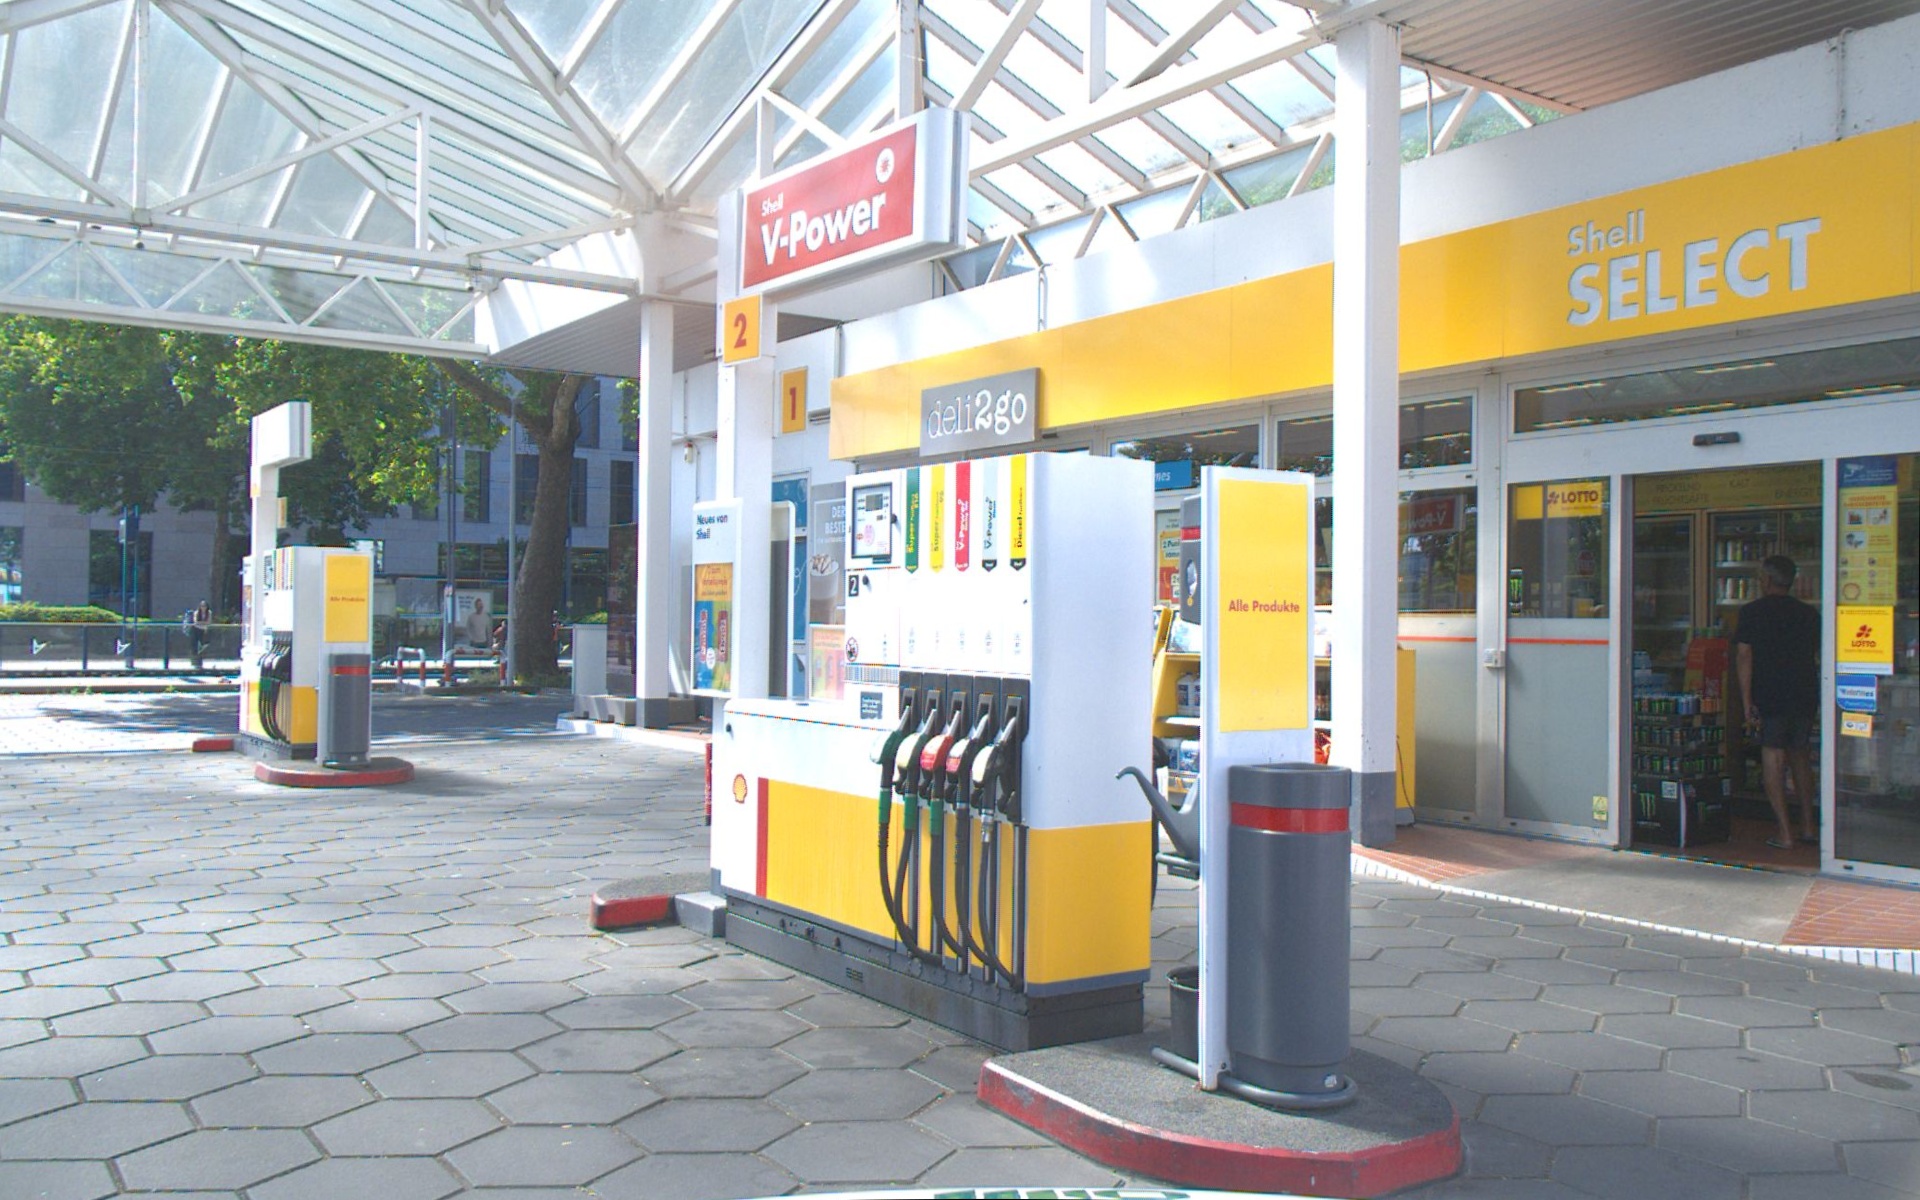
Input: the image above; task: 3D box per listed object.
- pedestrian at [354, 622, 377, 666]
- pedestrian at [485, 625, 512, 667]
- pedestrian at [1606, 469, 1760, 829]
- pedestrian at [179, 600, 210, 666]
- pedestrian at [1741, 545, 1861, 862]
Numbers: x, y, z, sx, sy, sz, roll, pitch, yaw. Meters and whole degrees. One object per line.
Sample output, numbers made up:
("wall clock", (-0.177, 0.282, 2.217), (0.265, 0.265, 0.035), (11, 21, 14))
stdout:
("pedestrian", (-15.617, 1.155, 43.463), (0.493, 1.158, 0.519), (1, -1, -28))
("pedestrian", (-12.711, 1.269, 45.577), (0.621, 1.158, 0.519), (1, -1, -28))
("pedestrian", (4.332, 0.286, 9.906), (0.736, 2.049, 0.613), (1, -1, -43))
("pedestrian", (-18.951, 0.813, 40.960), (0.579, 1.619, 0.662), (1, 0, -35))
("pedestrian", (4.960, 0.587, 9.751), (0.562, 1.793, 0.528), (0, -1, 35))
